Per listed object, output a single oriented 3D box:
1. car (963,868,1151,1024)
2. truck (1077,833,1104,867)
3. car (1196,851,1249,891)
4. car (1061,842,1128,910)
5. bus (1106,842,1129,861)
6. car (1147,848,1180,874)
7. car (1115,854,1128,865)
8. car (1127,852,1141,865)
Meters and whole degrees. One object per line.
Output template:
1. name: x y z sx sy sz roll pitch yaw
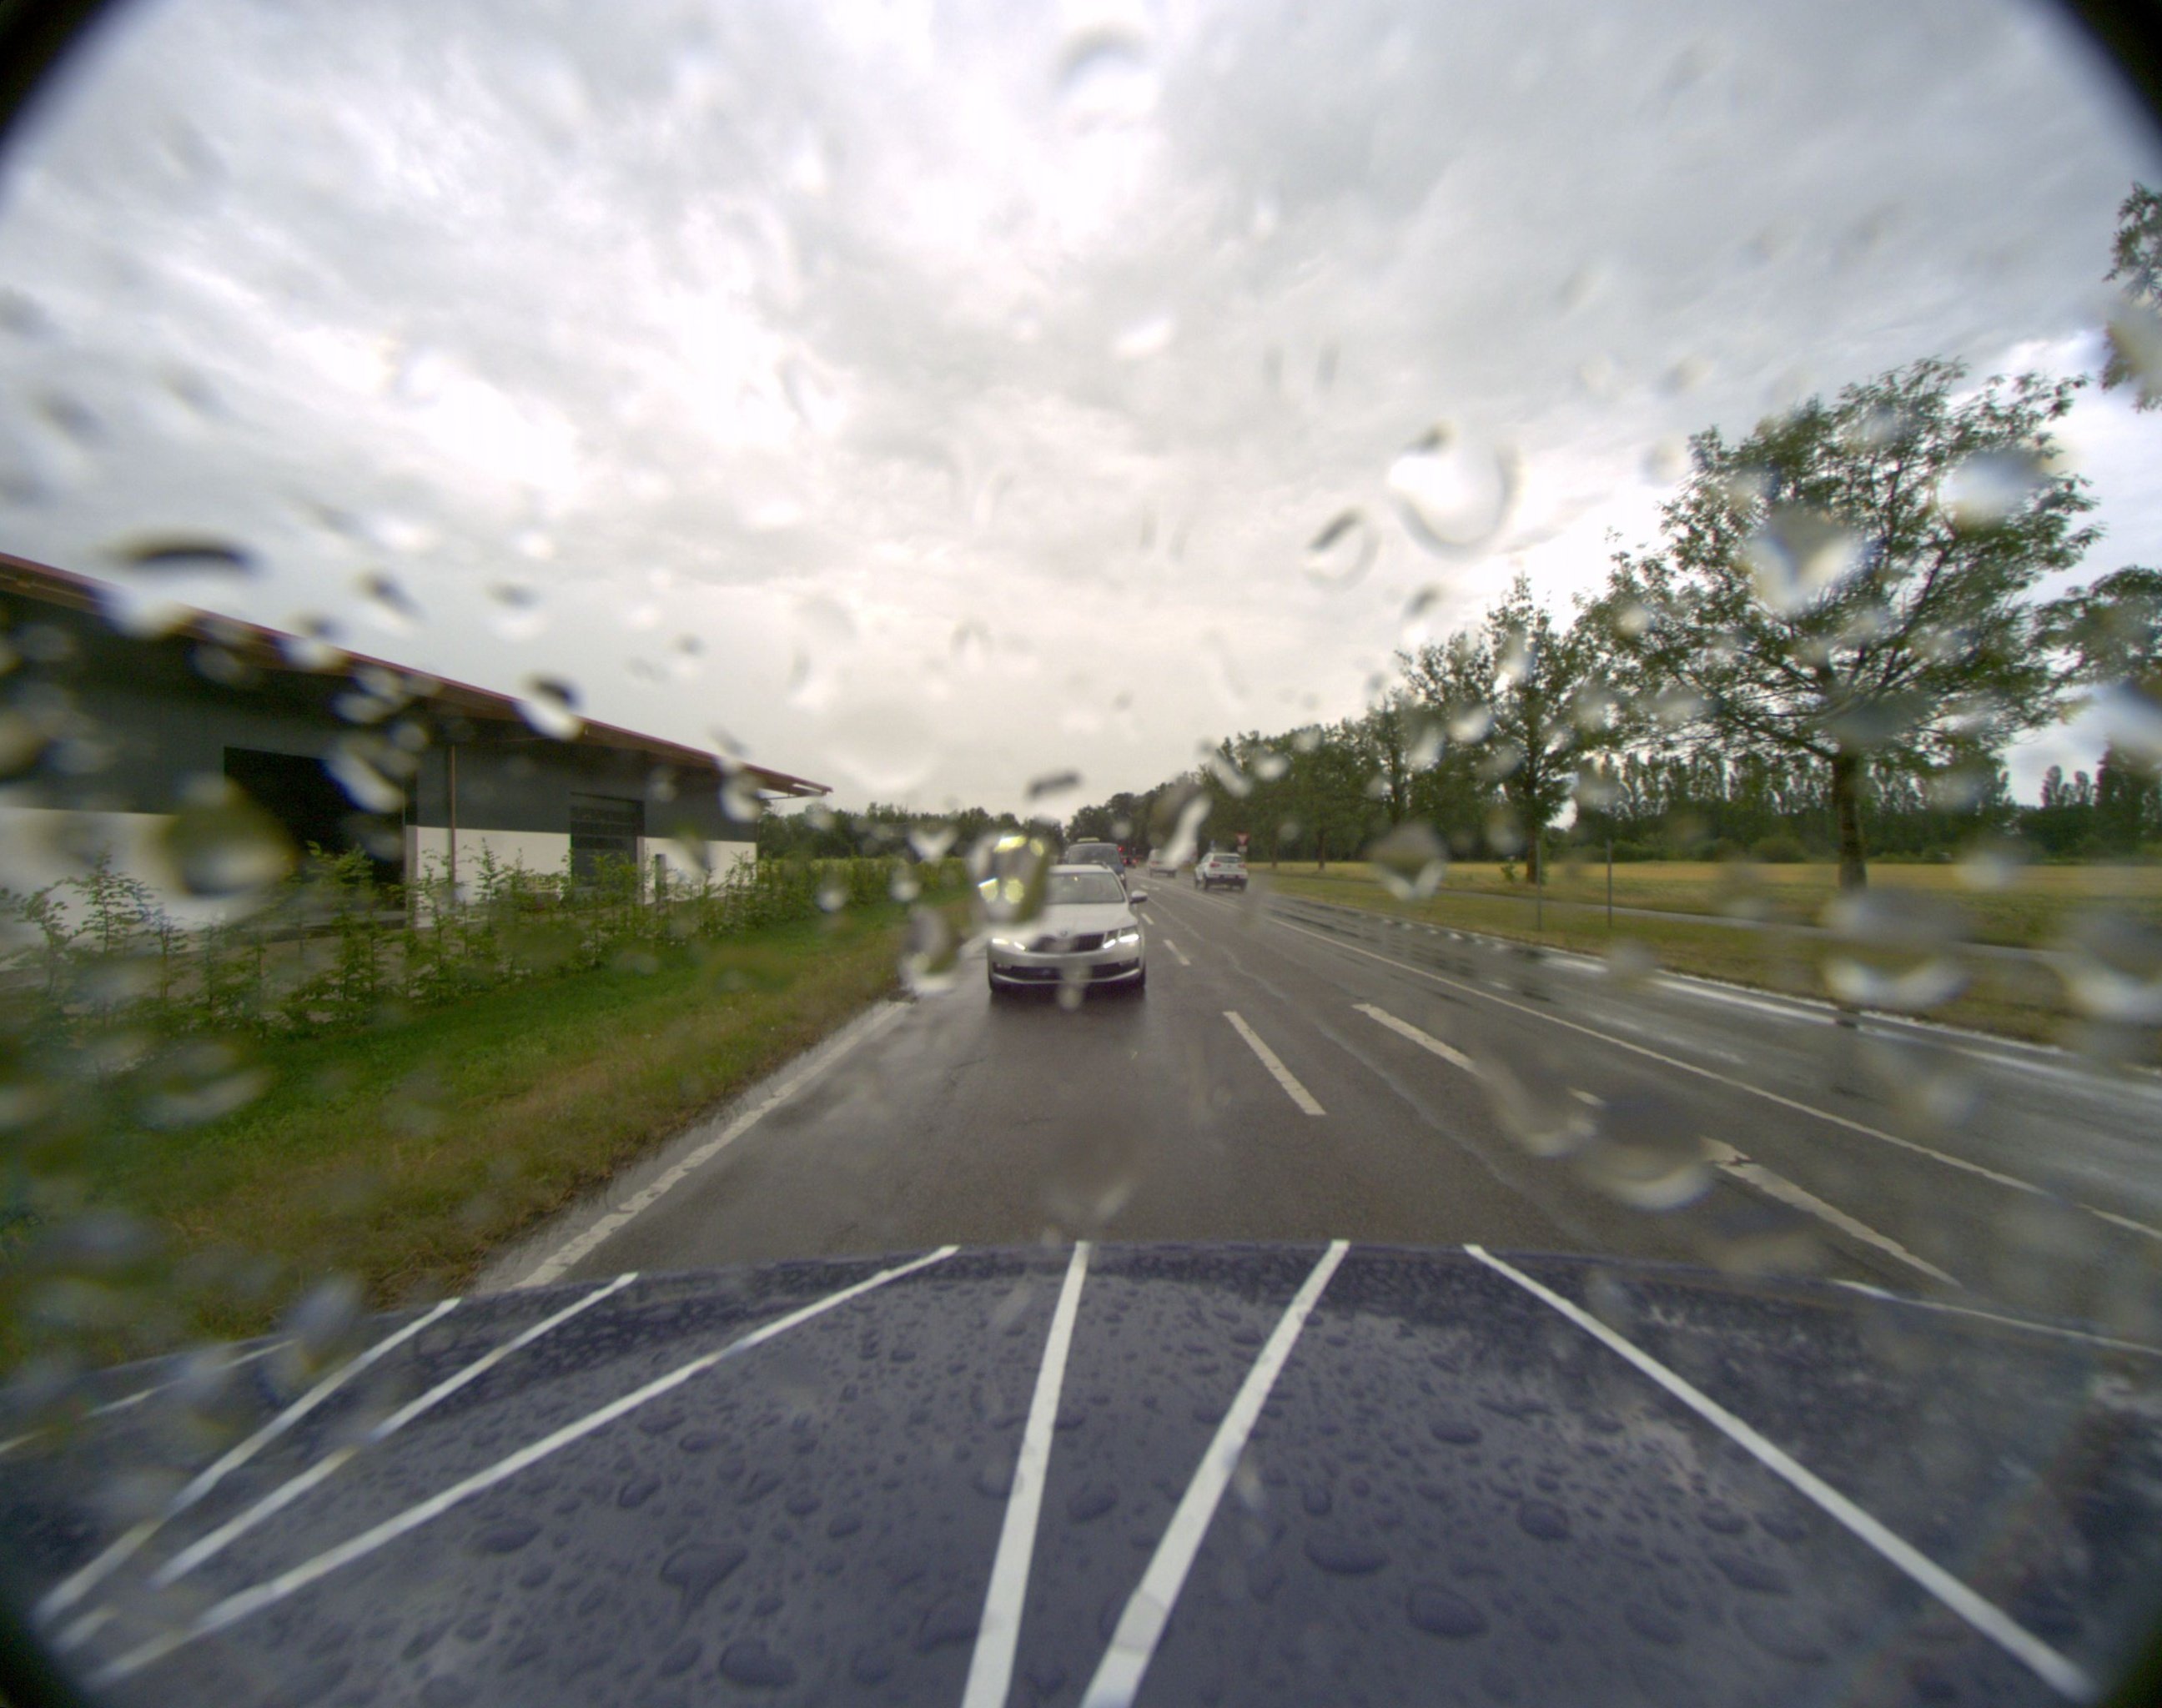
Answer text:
1. car: -0.209 0.970 9.953 1.843 1.379 4.569 -2 1 1
2. truck: 1.158 -0.480 91.292 2.931 3.828 14.119 0 0 1
3. car: 6.299 0.700 34.208 1.708 1.661 4.156 2 0 2
4. car: 0.409 0.629 23.726 1.892 1.939 4.000 0 0 1
5. bus: 5.887 -0.460 124.534 2.958 2.895 12.473 0 1 0
6. car: 6.052 0.476 56.309 1.921 1.851 4.684 1 1 0
7. car: 5.817 0.735 108.187 1.672 1.442 3.461 1 0 1
8. car: 6.526 0.572 93.437 1.504 1.521 3.301 2 0 2
